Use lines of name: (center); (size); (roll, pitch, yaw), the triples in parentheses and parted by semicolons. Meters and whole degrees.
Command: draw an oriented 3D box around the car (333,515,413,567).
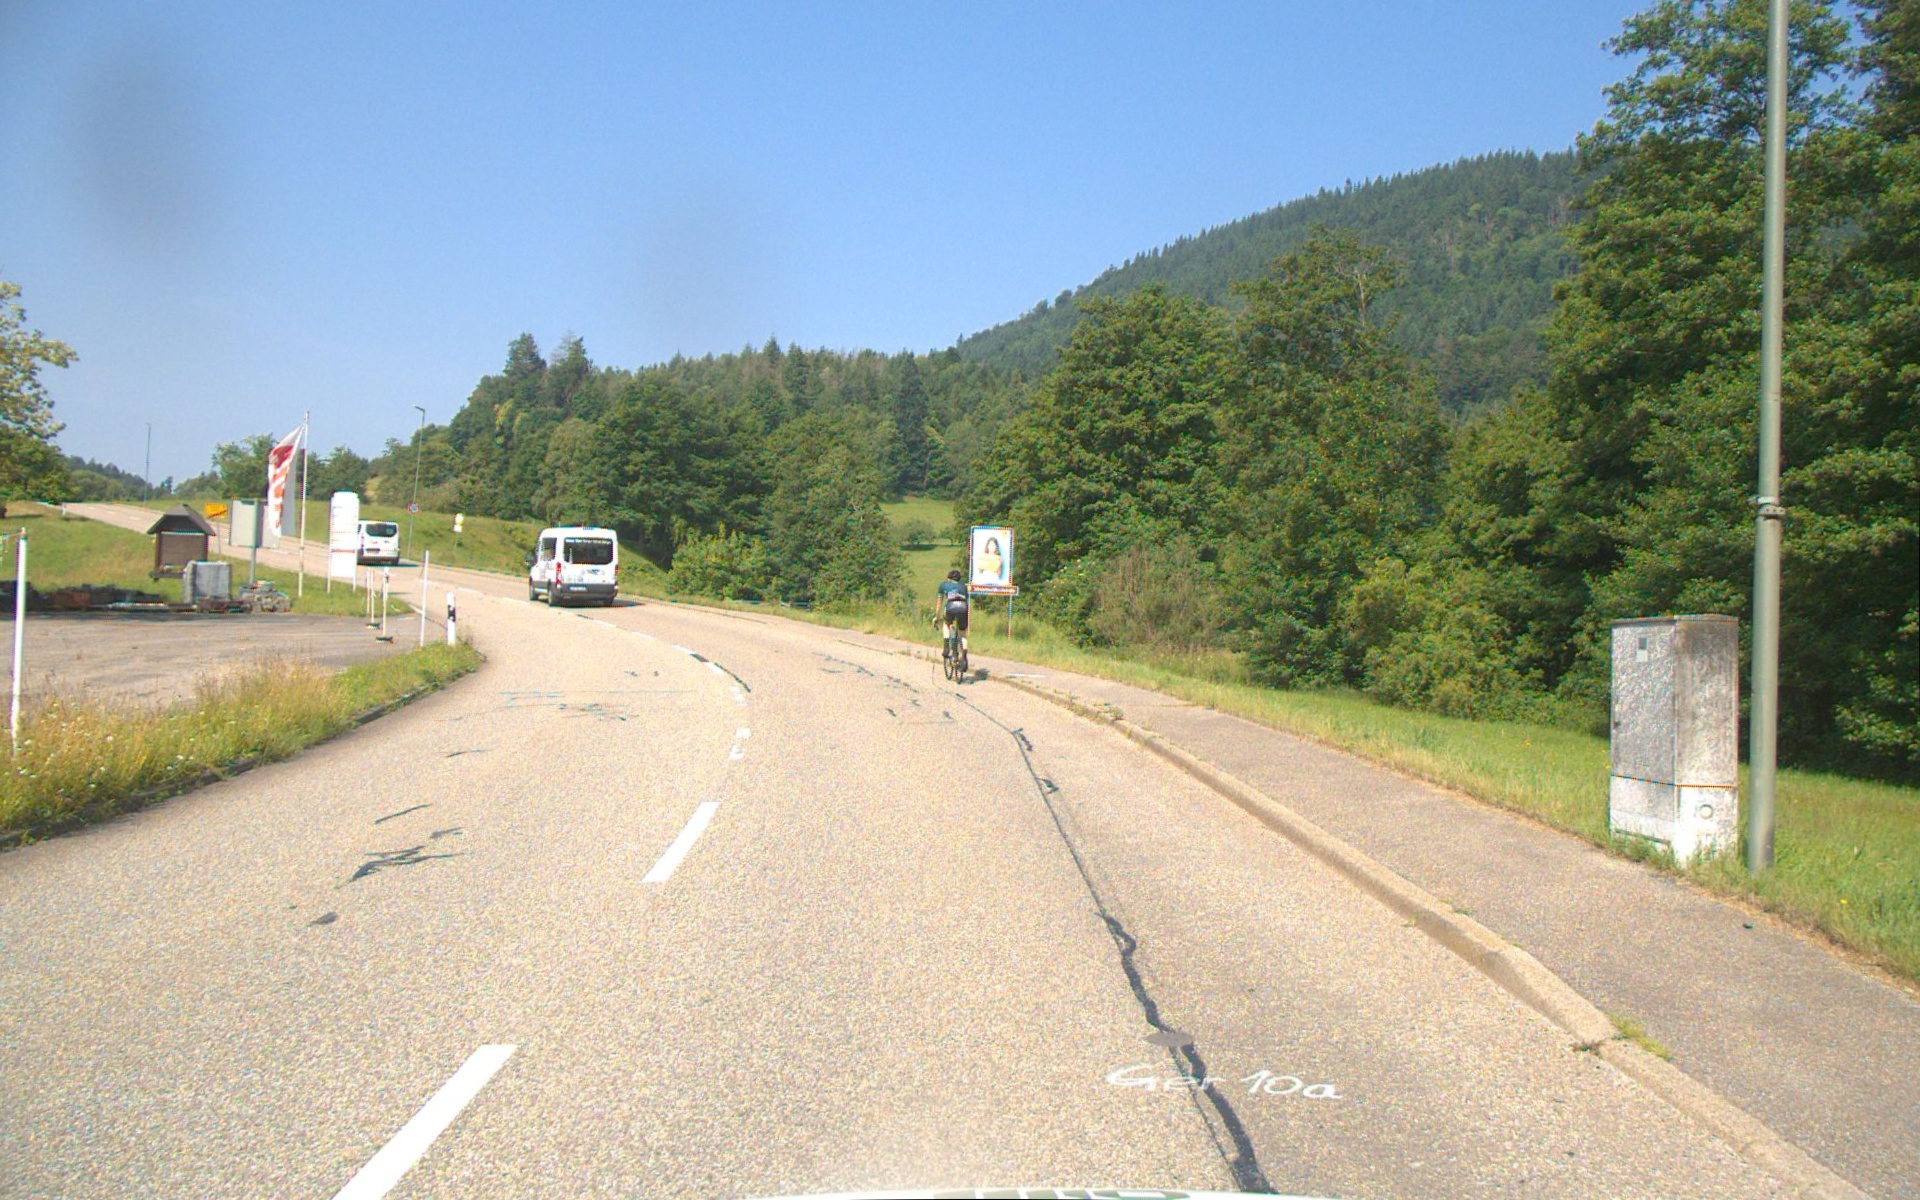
car: (-27.423, -2.761, 77.158); (2.205, 2.326, 4.922); (-2, 3, -36)

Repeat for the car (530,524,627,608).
car: (-12.387, -1.152, 53.429); (2.193, 2.569, 4.949); (-1, 3, -23)

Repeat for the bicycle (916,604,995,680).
bicycle: (-0.088, 0.614, 25.150); (0.571, 1.053, 1.980); (-1, 2, -19)

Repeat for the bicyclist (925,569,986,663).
bicyclist: (-0.078, 0.224, 25.041); (0.571, 1.366, 1.139); (-1, 2, -19)
